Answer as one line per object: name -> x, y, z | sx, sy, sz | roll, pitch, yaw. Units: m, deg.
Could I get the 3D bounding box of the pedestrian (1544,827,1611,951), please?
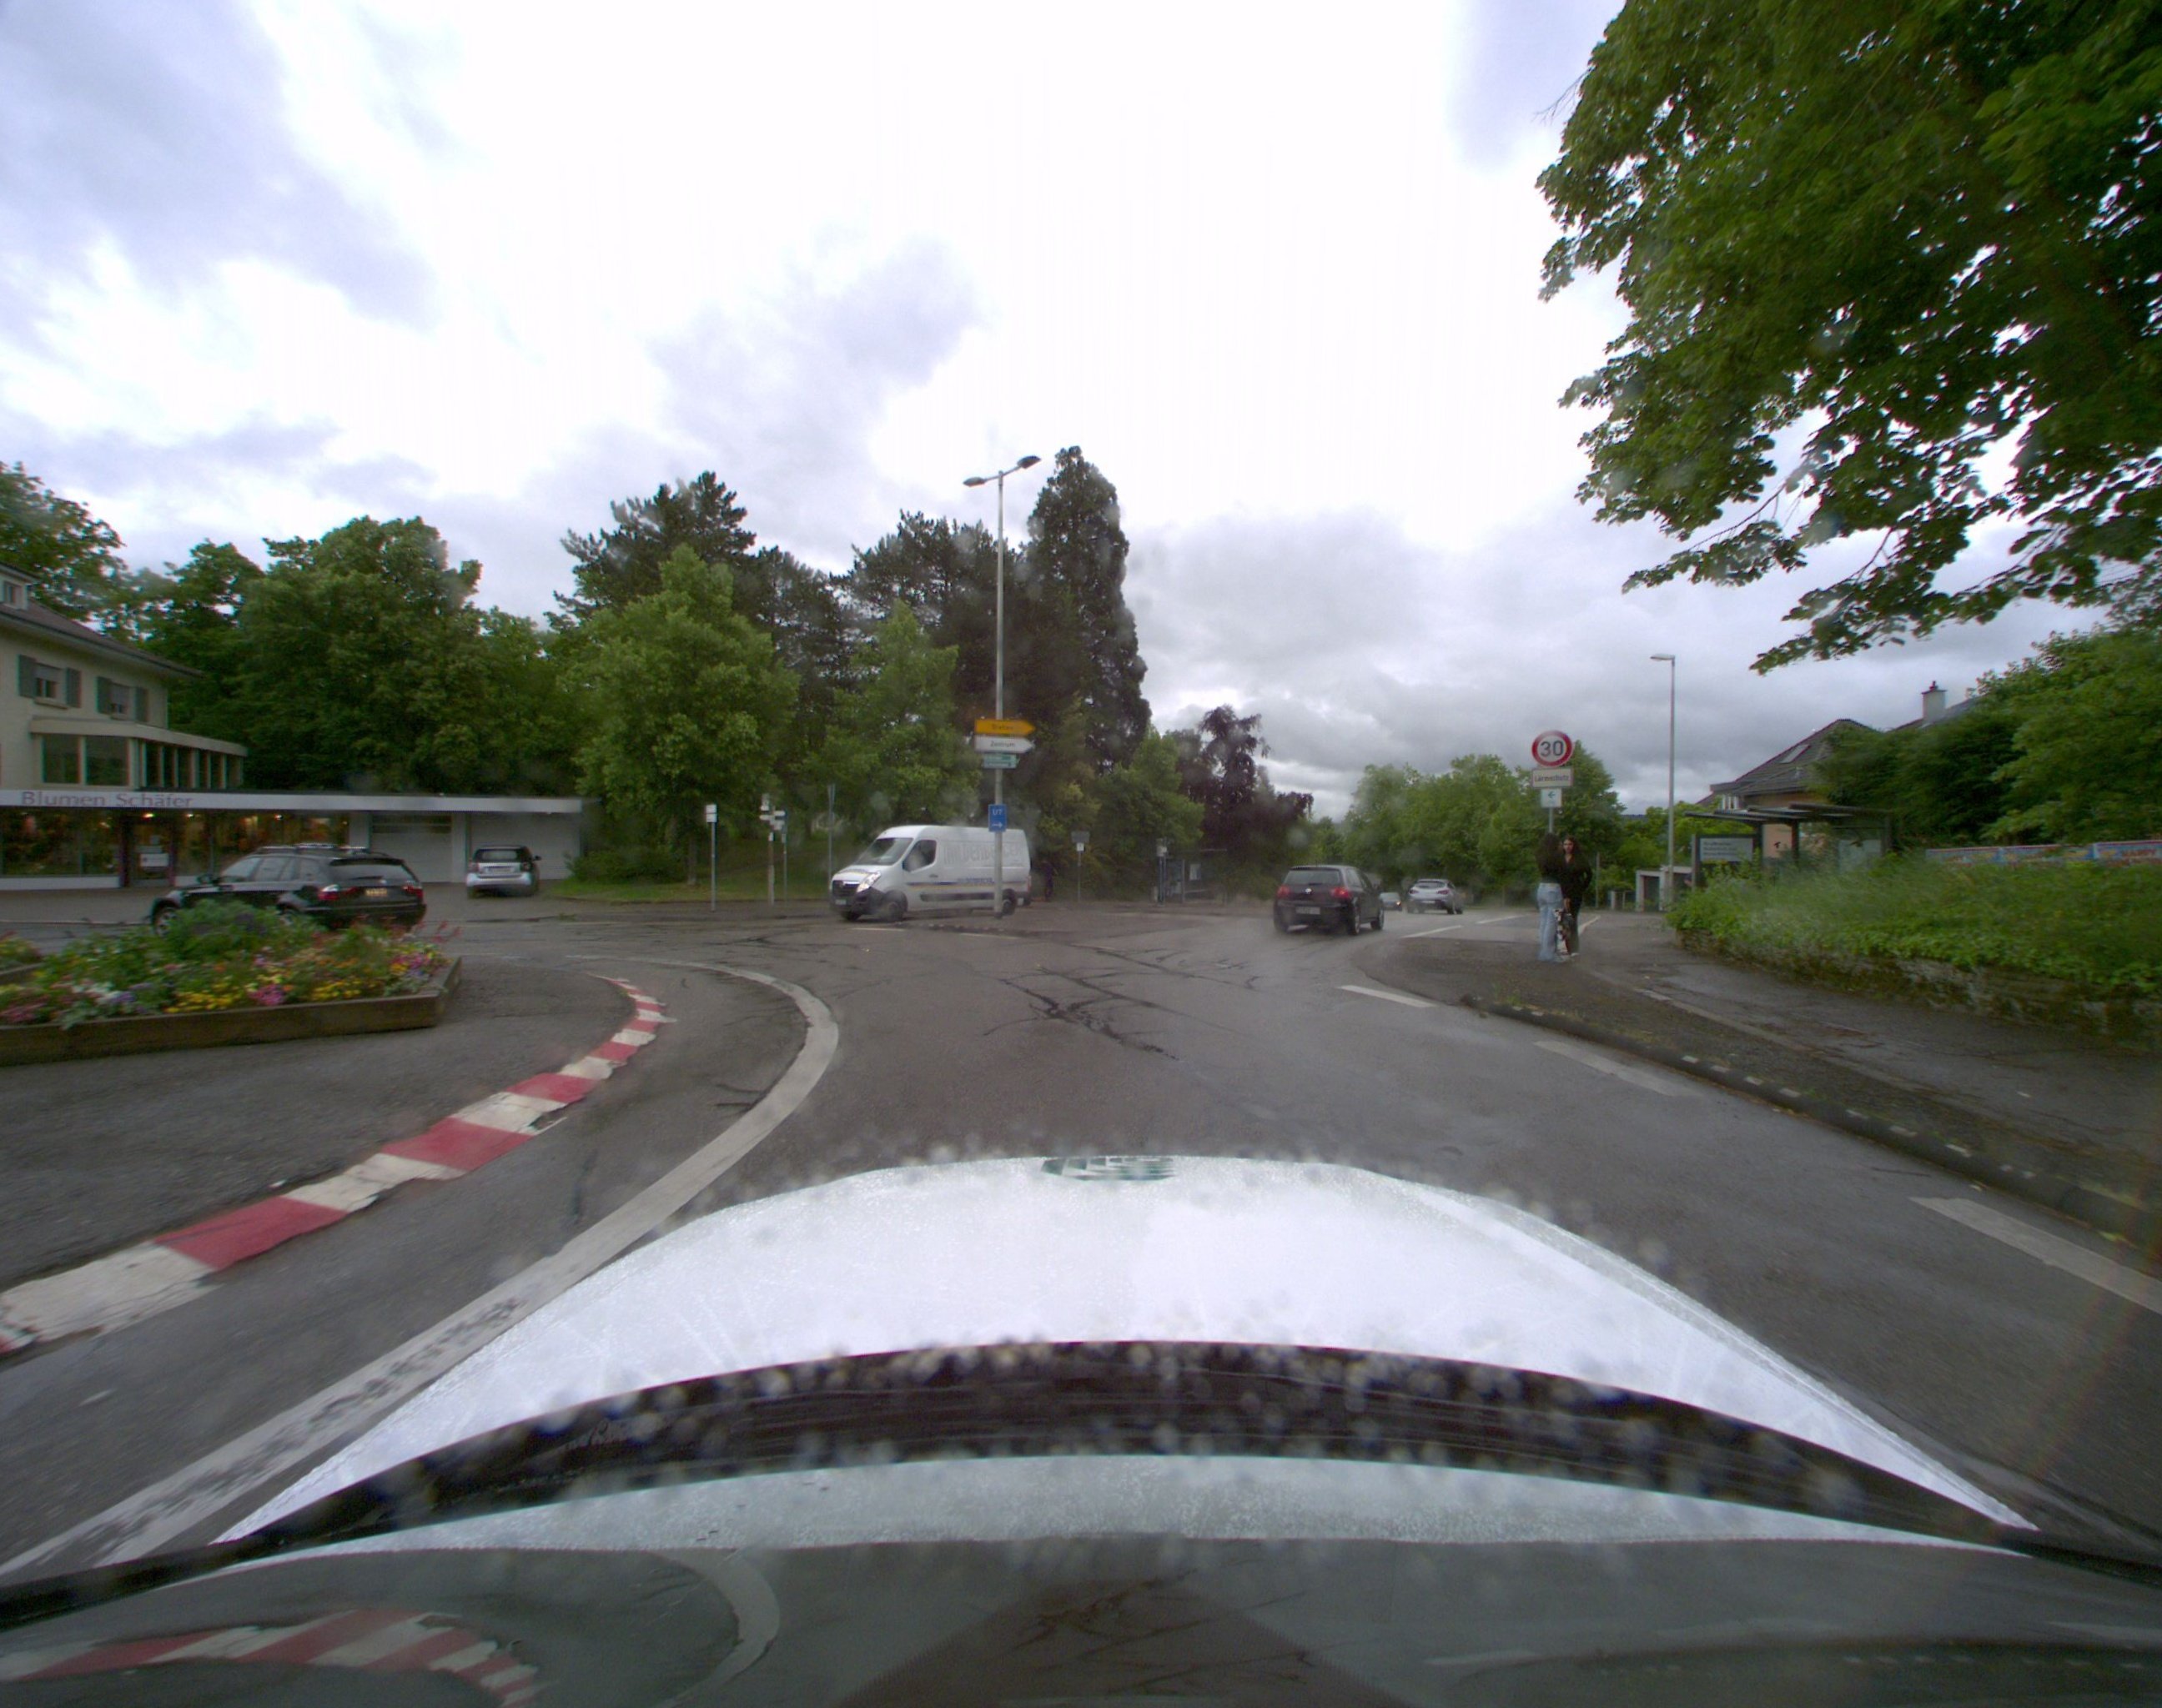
pedestrian -> 7.091, 0.494, 11.646 | 0.632, 1.713, 0.529 | 1, -1, -4

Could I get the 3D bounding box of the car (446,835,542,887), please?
car -> -18.273, 0.189, 25.540 | 1.822, 1.486, 3.798 | -1, 1, -26

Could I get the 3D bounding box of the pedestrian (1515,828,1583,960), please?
pedestrian -> 6.332, 0.529, 11.026 | 0.532, 1.713, 0.629 | 2, -1, -34

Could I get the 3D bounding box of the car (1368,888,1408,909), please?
car -> 22.820, 3.254, 60.434 | 1.890, 1.393, 4.543 | 0, -2, 32

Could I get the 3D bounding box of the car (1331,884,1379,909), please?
car -> 16.470, 2.572, 48.802 | 1.890, 1.393, 4.542 | 1, -3, 30

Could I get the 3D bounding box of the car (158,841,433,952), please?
car -> -14.167, 0.729, 14.720 | 4.198, 1.801, 1.779 | -1, 0, 18

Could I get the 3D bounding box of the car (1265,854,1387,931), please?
car -> 5.617, 0.867, 18.356 | 1.748, 1.539, 4.024 | -1, -3, 30

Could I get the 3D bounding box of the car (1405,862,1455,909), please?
car -> 14.976, 1.380, 34.821 | 1.748, 1.802, 4.269 | -1, -5, 25

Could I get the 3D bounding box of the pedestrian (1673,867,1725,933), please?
pedestrian -> 16.595, 1.229, 21.873 | 1.000, 1.696, 0.962 | -3, -4, 39

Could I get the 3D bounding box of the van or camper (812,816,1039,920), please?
van or camper -> -3.920, 0.389, 21.592 | 2.173, 2.378, 5.703 | 0, -1, 42

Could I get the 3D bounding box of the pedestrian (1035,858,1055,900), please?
pedestrian -> -1.477, 1.021, 33.551 | 0.735, 1.725, 0.817 | 1, -1, 1

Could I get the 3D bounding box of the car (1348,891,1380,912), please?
car -> 27.316, 4.536, 78.764 | 2.055, 1.839, 4.006 | 0, -1, 6
